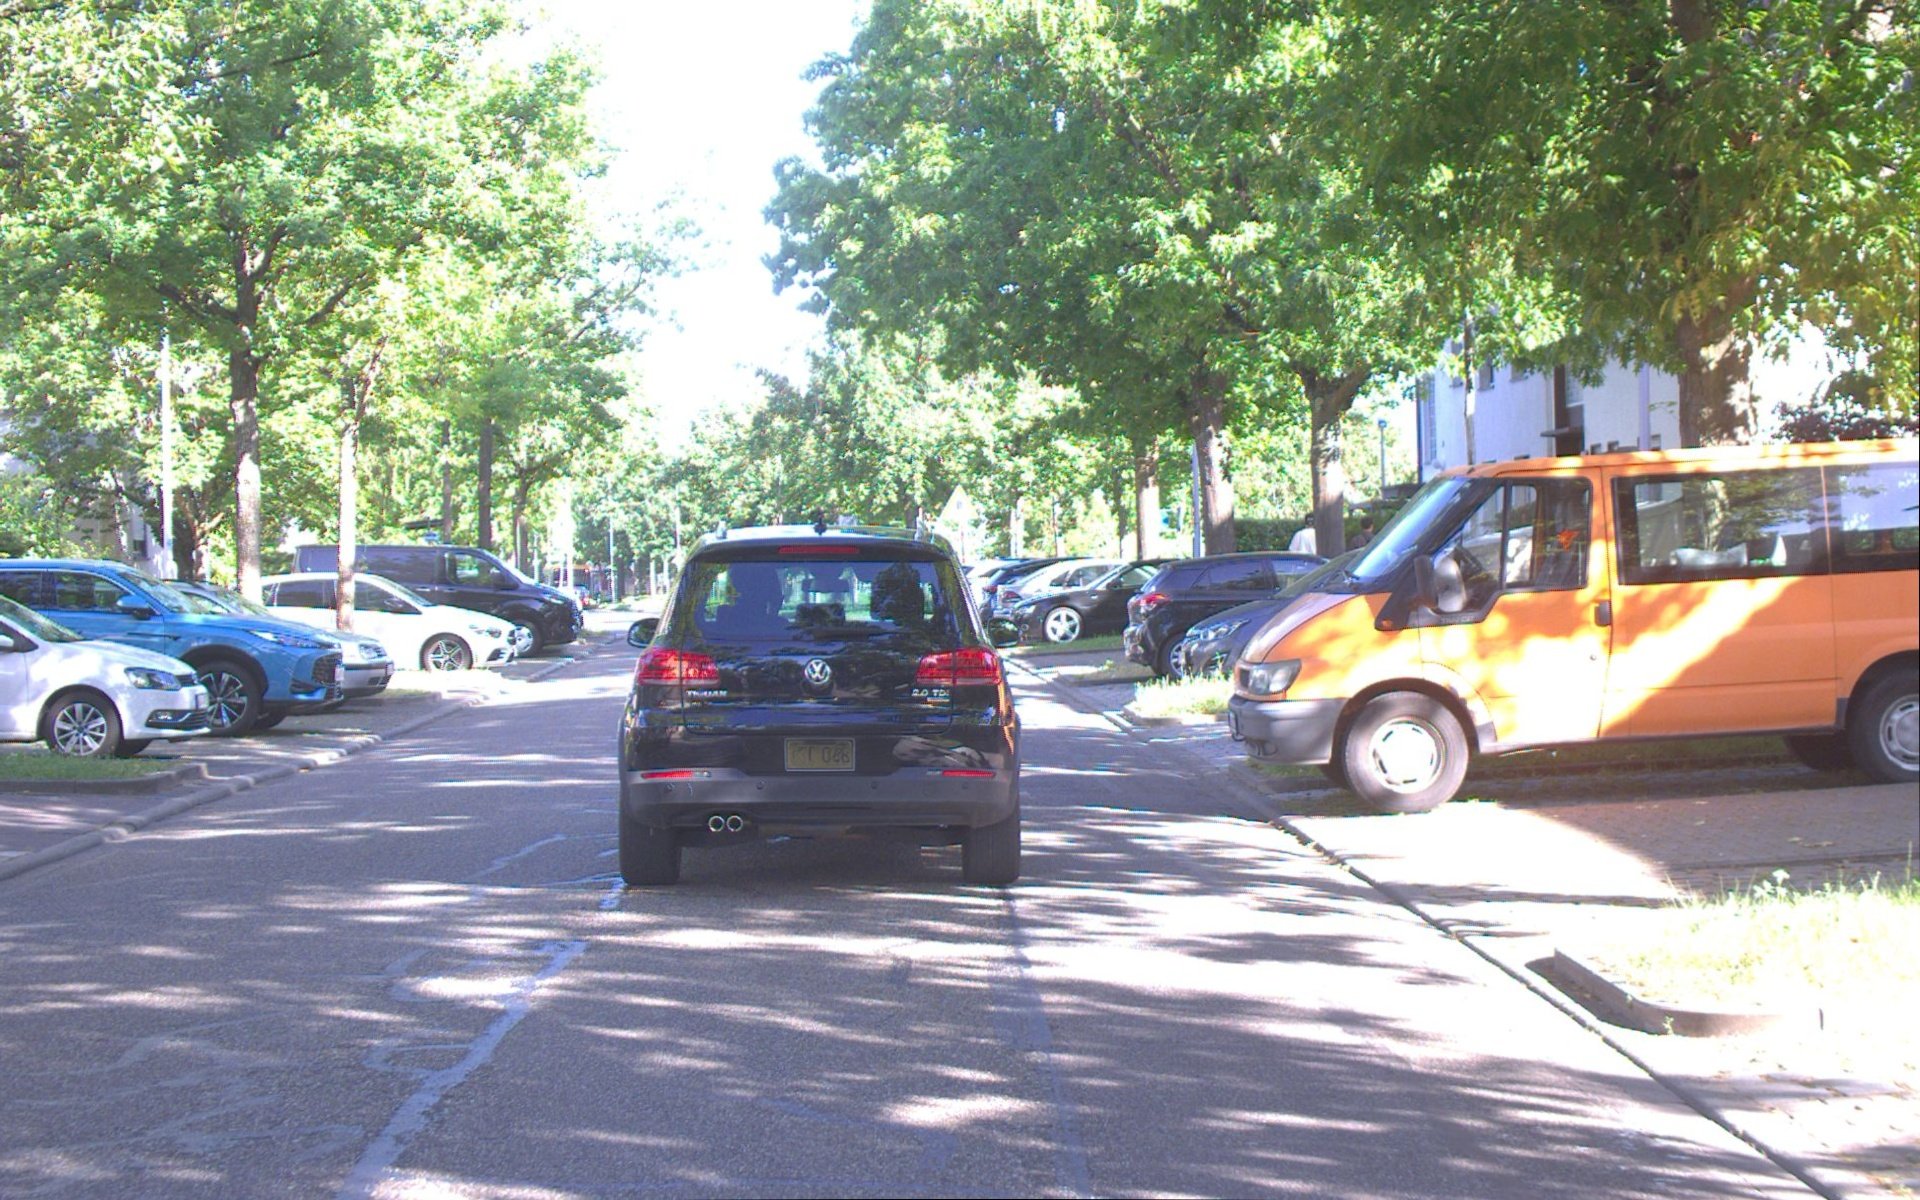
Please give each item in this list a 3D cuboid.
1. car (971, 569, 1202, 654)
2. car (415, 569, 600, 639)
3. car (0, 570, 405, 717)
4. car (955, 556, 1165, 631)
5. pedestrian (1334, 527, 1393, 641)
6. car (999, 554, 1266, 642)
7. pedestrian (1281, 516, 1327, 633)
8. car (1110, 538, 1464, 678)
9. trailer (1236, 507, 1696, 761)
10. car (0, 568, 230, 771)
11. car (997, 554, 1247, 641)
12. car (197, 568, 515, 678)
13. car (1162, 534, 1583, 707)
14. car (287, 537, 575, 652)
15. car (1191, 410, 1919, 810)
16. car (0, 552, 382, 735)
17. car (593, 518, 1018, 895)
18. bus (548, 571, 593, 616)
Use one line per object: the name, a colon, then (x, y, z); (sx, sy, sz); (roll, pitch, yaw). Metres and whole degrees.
car: (2.405, 0.205, 66.135); (4.276, 1.498, 1.797); (-2, 0, -2)
car: (-9.932, 0.071, 75.679); (3.857, 1.454, 1.713); (-1, 1, -2)
car: (-8.289, 0.477, 37.545); (4.182, 1.487, 1.647); (-1, -1, -1)
car: (2.154, -0.147, 74.898); (4.428, 1.486, 1.797); (-2, 0, -2)
pedestrian: (6.548, -0.259, 55.800); (0.835, 1.822, 0.710); (-1, -1, 0)
car: (2.891, -0.029, 58.418); (4.345, 1.358, 1.873); (-2, 0, -2)
pedestrian: (5.584, -0.409, 55.835); (0.608, 1.867, 0.924); (-1, -1, 0)
car: (3.737, 0.098, 39.775); (3.882, 1.511, 1.661); (-1, -1, -1)
trailer: (3.685, 0.248, 25.325); (2.945, 1.658, 1.615); (-3, -1, -7)
car: (-8.211, 0.588, 28.345); (3.987, 1.590, 1.857); (-1, -1, -1)
car: (2.858, -0.055, 61.182); (4.276, 1.409, 1.797); (-2, 0, -2)
car: (-8.645, 0.315, 49.444); (4.275, 1.473, 1.769); (-1, 1, -2)
car: (4.115, 0.209, 34.751); (3.987, 1.618, 1.757); (-1, -1, -1)
car: (-9.173, -0.108, 59.905); (4.778, 1.910, 2.019); (-1, 1, -4)
car: (3.917, 0.029, 20.542); (4.818, 2.076, 2.086); (-3, 0, -1)
car: (-7.943, 0.426, 32.795); (4.524, 1.626, 1.937); (-1, -1, -1)
car: (-0.646, 0.460, 16.879); (1.838, 1.631, 3.958); (0, 0, 1)
bus: (-26.625, -0.421, 235.155); (2.928, 2.994, 5.738); (-1, -1, -6)
